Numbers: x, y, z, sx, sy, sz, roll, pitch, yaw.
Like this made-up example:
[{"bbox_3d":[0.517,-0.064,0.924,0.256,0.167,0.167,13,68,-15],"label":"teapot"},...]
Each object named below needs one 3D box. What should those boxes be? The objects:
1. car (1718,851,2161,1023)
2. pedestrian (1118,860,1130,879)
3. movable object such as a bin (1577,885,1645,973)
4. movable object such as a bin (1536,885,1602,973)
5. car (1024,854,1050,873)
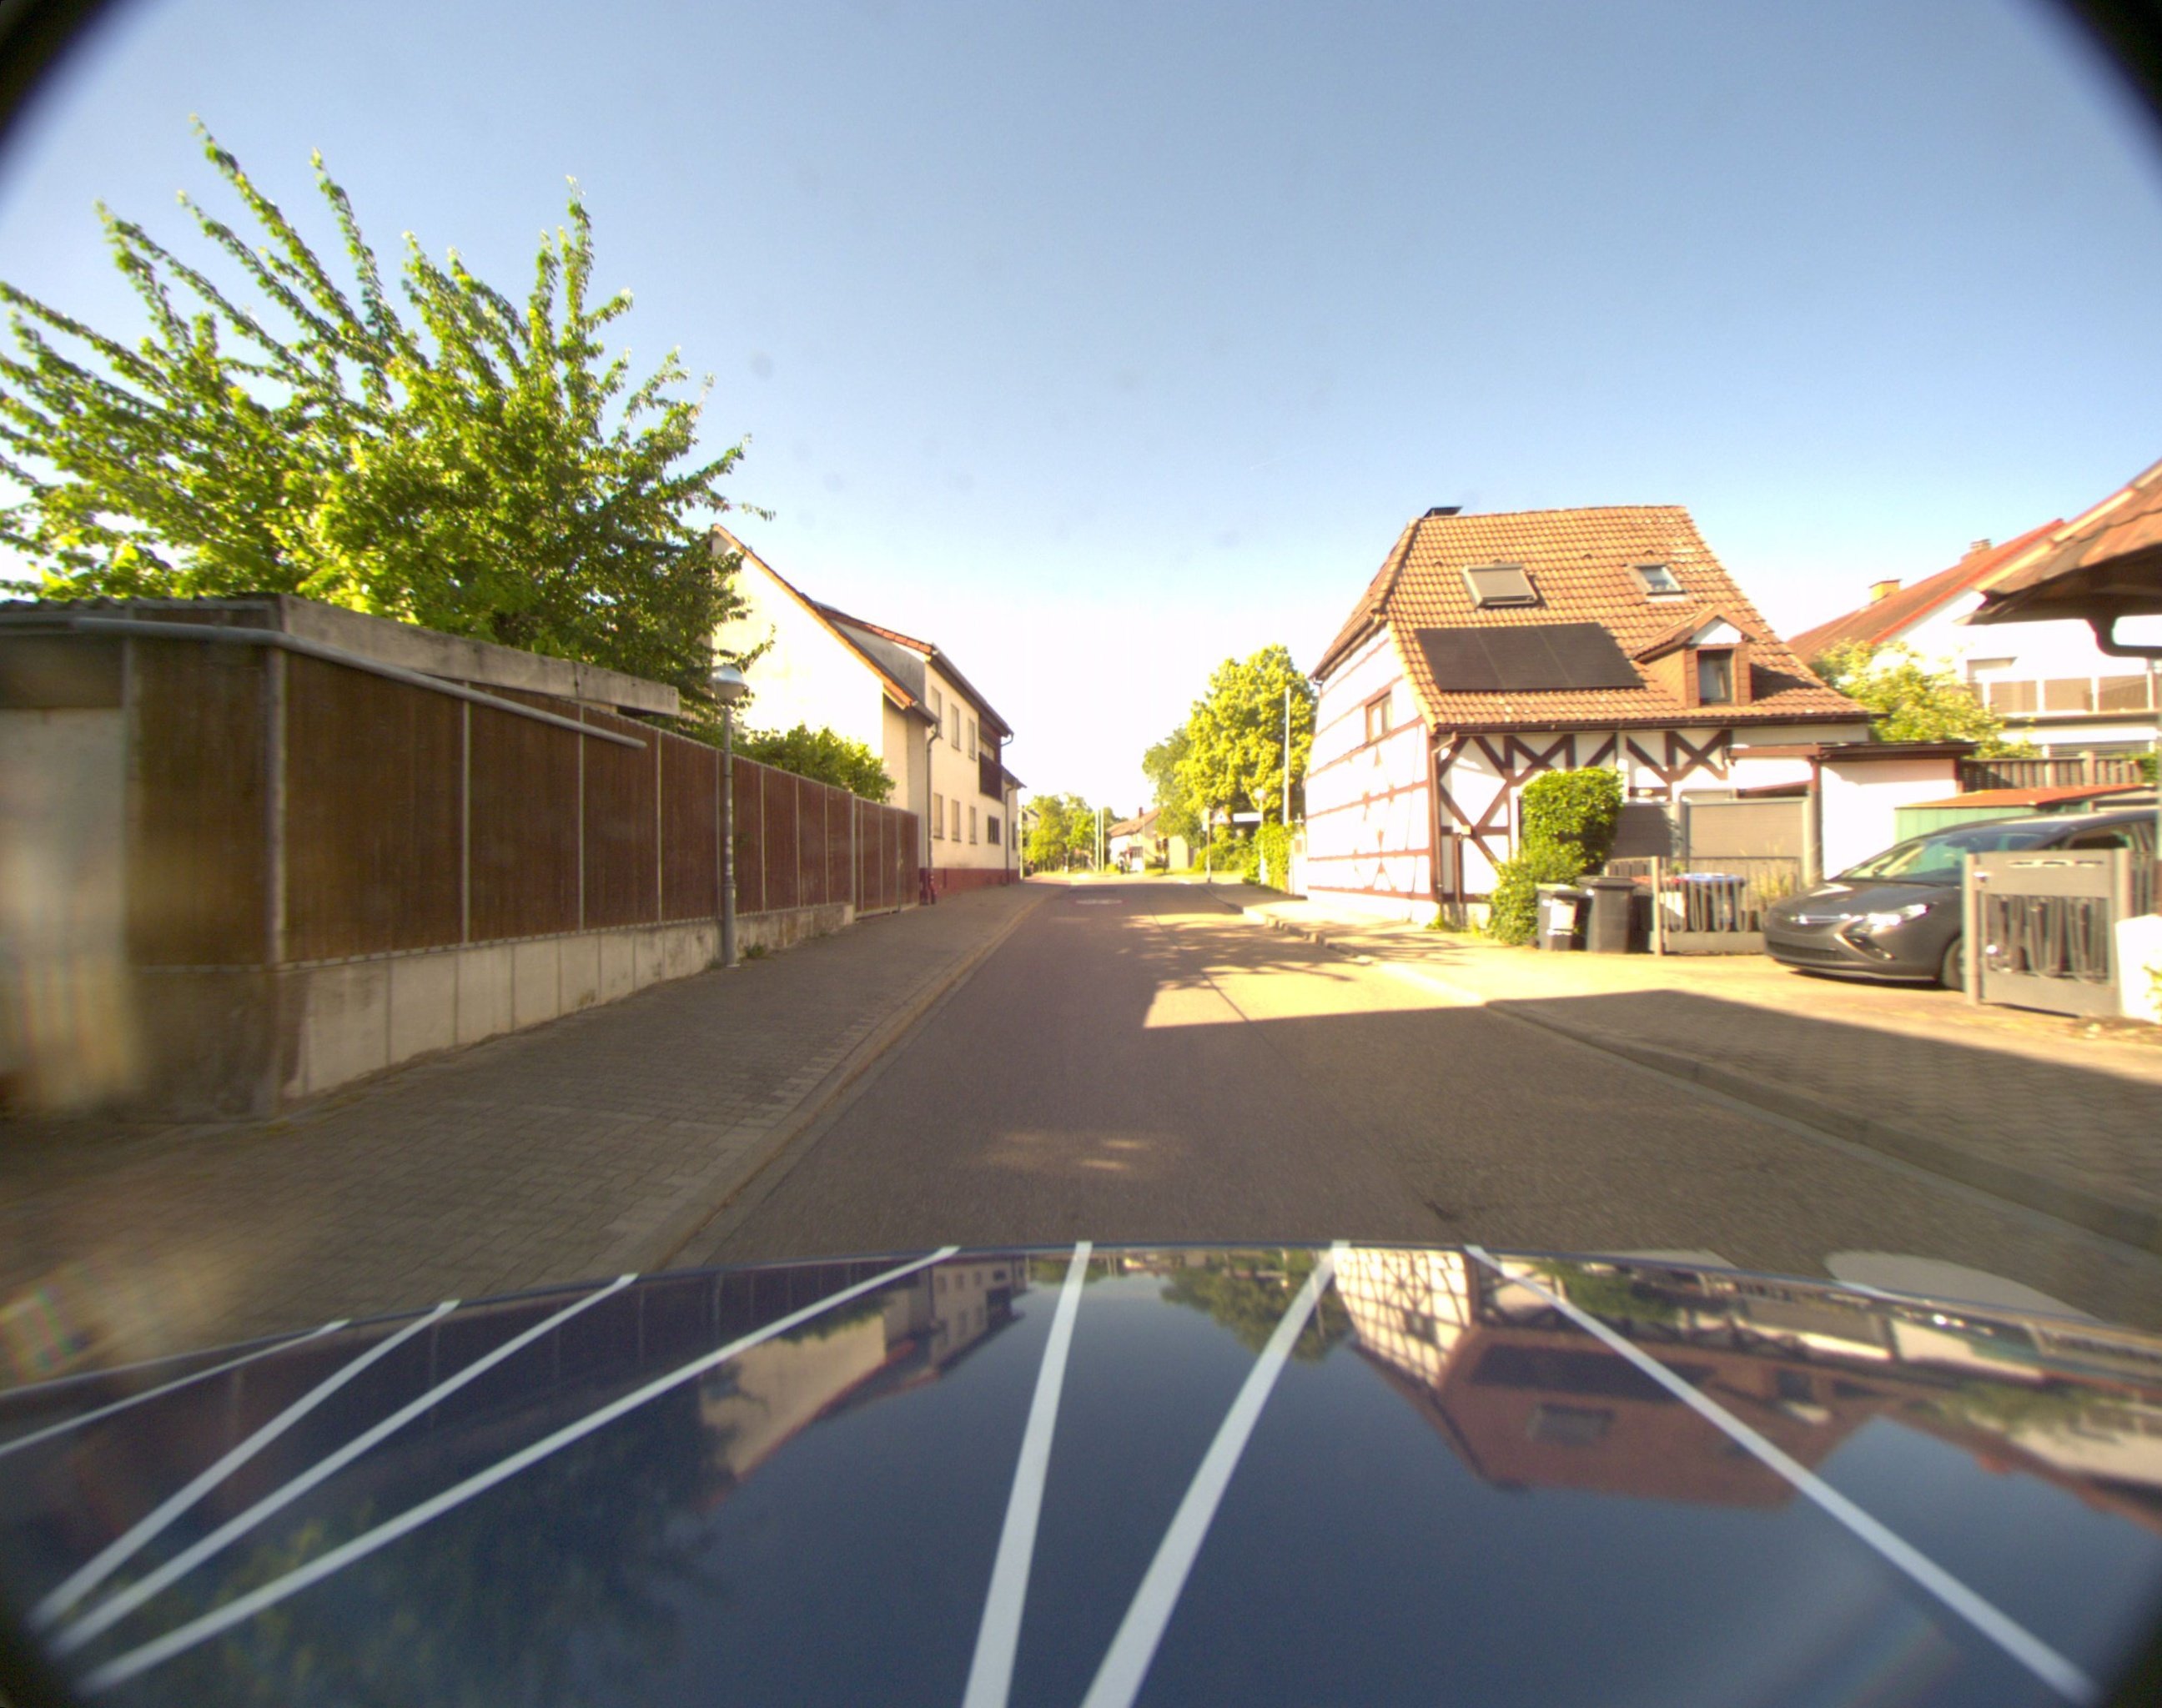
[{"bbox_3d":[9.576,0.774,8.005,4.113,1.583,1.819,0,1,2],"label":"car"},{"bbox_3d":[4.074,1.451,71.929,0.716,1.792,0.772,-1,2,31],"label":"pedestrian"},{"bbox_3d":[7.213,1.002,10.360,0.477,1.134,0.668,-1,1,2],"label":"movable object such as a bin"},{"bbox_3d":[6.648,1.009,10.379,0.477,1.134,0.668,-1,1,2],"label":"movable object such as a bin"},{"bbox_3d":[-4.780,1.048,81.622,1.967,1.908,4.573,-1,0,-13],"label":"car"}]
